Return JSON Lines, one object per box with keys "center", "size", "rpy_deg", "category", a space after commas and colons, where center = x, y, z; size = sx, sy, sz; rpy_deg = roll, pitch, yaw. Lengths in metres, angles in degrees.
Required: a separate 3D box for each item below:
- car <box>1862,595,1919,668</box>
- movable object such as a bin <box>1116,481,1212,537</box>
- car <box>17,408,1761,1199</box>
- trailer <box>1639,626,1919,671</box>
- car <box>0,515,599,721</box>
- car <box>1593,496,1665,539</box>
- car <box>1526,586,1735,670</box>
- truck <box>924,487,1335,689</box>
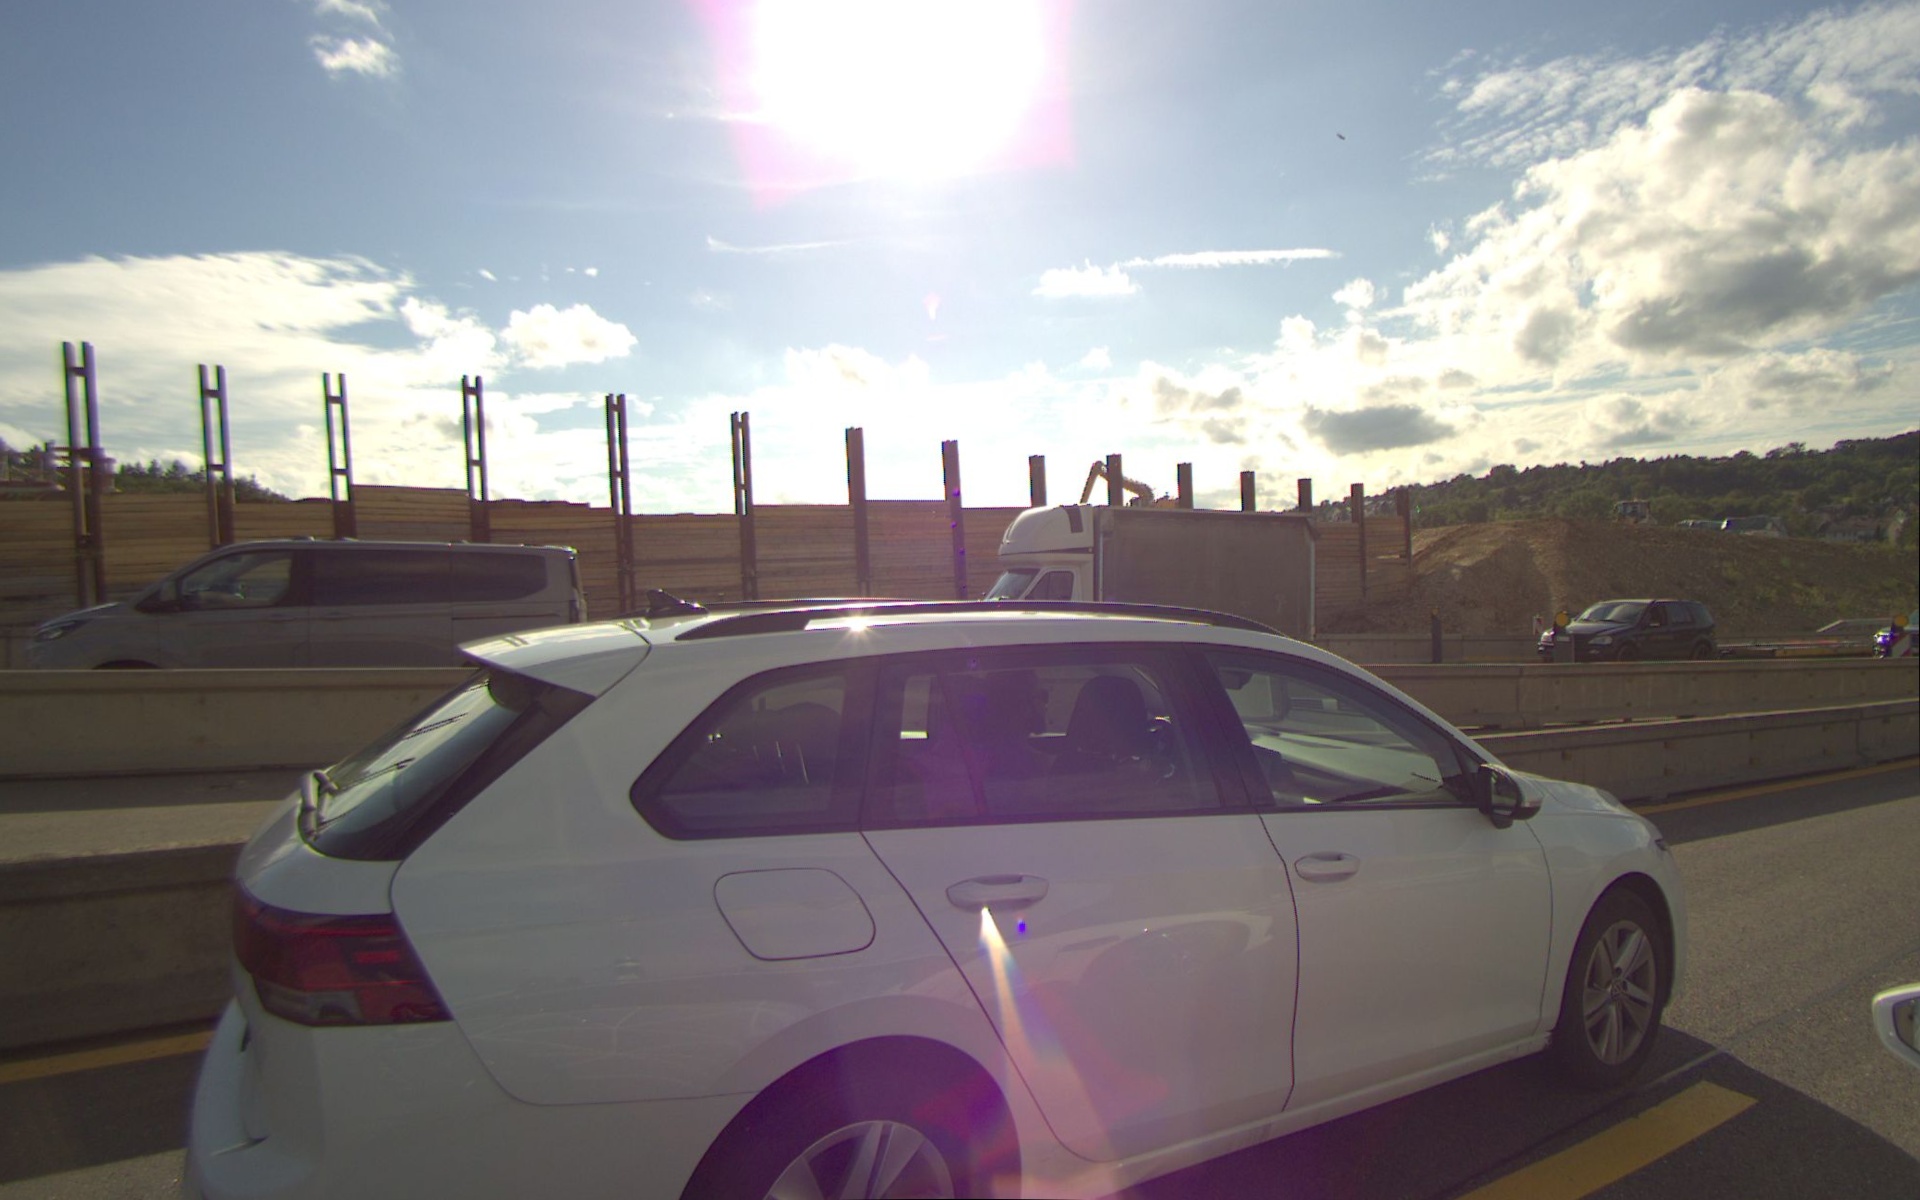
{"center": [23.934, 0.748, 24.065], "size": [4.686, 1.657, 1.846], "rpy_deg": [1, 1, -26], "category": "car"}
{"center": [14.667, -6.524, 72.806], "size": [4.441, 3.314, 5.740], "rpy_deg": [2, 0, -19], "category": "movable object such as a bin"}
{"center": [0.391, 0.629, 3.078], "size": [4.464, 1.510, 1.761], "rpy_deg": [3, -2, -30], "category": "car"}
{"center": [22.516, 1.271, 26.578], "size": [10.180, 0.952, 2.346], "rpy_deg": [1, 0, -23], "category": "trailer"}
{"center": [-6.511, 0.168, 10.643], "size": [4.958, 1.789, 2.121], "rpy_deg": [1, 1, -23], "category": "car"}
{"center": [44.587, -5.438, 66.916], "size": [5.263, 2.168, 1.984], "rpy_deg": [2, -5, -32], "category": "car"}
{"center": [15.795, 0.650, 23.669], "size": [4.381, 1.828, 1.989], "rpy_deg": [1, 0, -23], "category": "car"}
{"center": [3.283, -0.090, 19.407], "size": [7.423, 3.355, 2.697], "rpy_deg": [2, 0, -20], "category": "truck"}
